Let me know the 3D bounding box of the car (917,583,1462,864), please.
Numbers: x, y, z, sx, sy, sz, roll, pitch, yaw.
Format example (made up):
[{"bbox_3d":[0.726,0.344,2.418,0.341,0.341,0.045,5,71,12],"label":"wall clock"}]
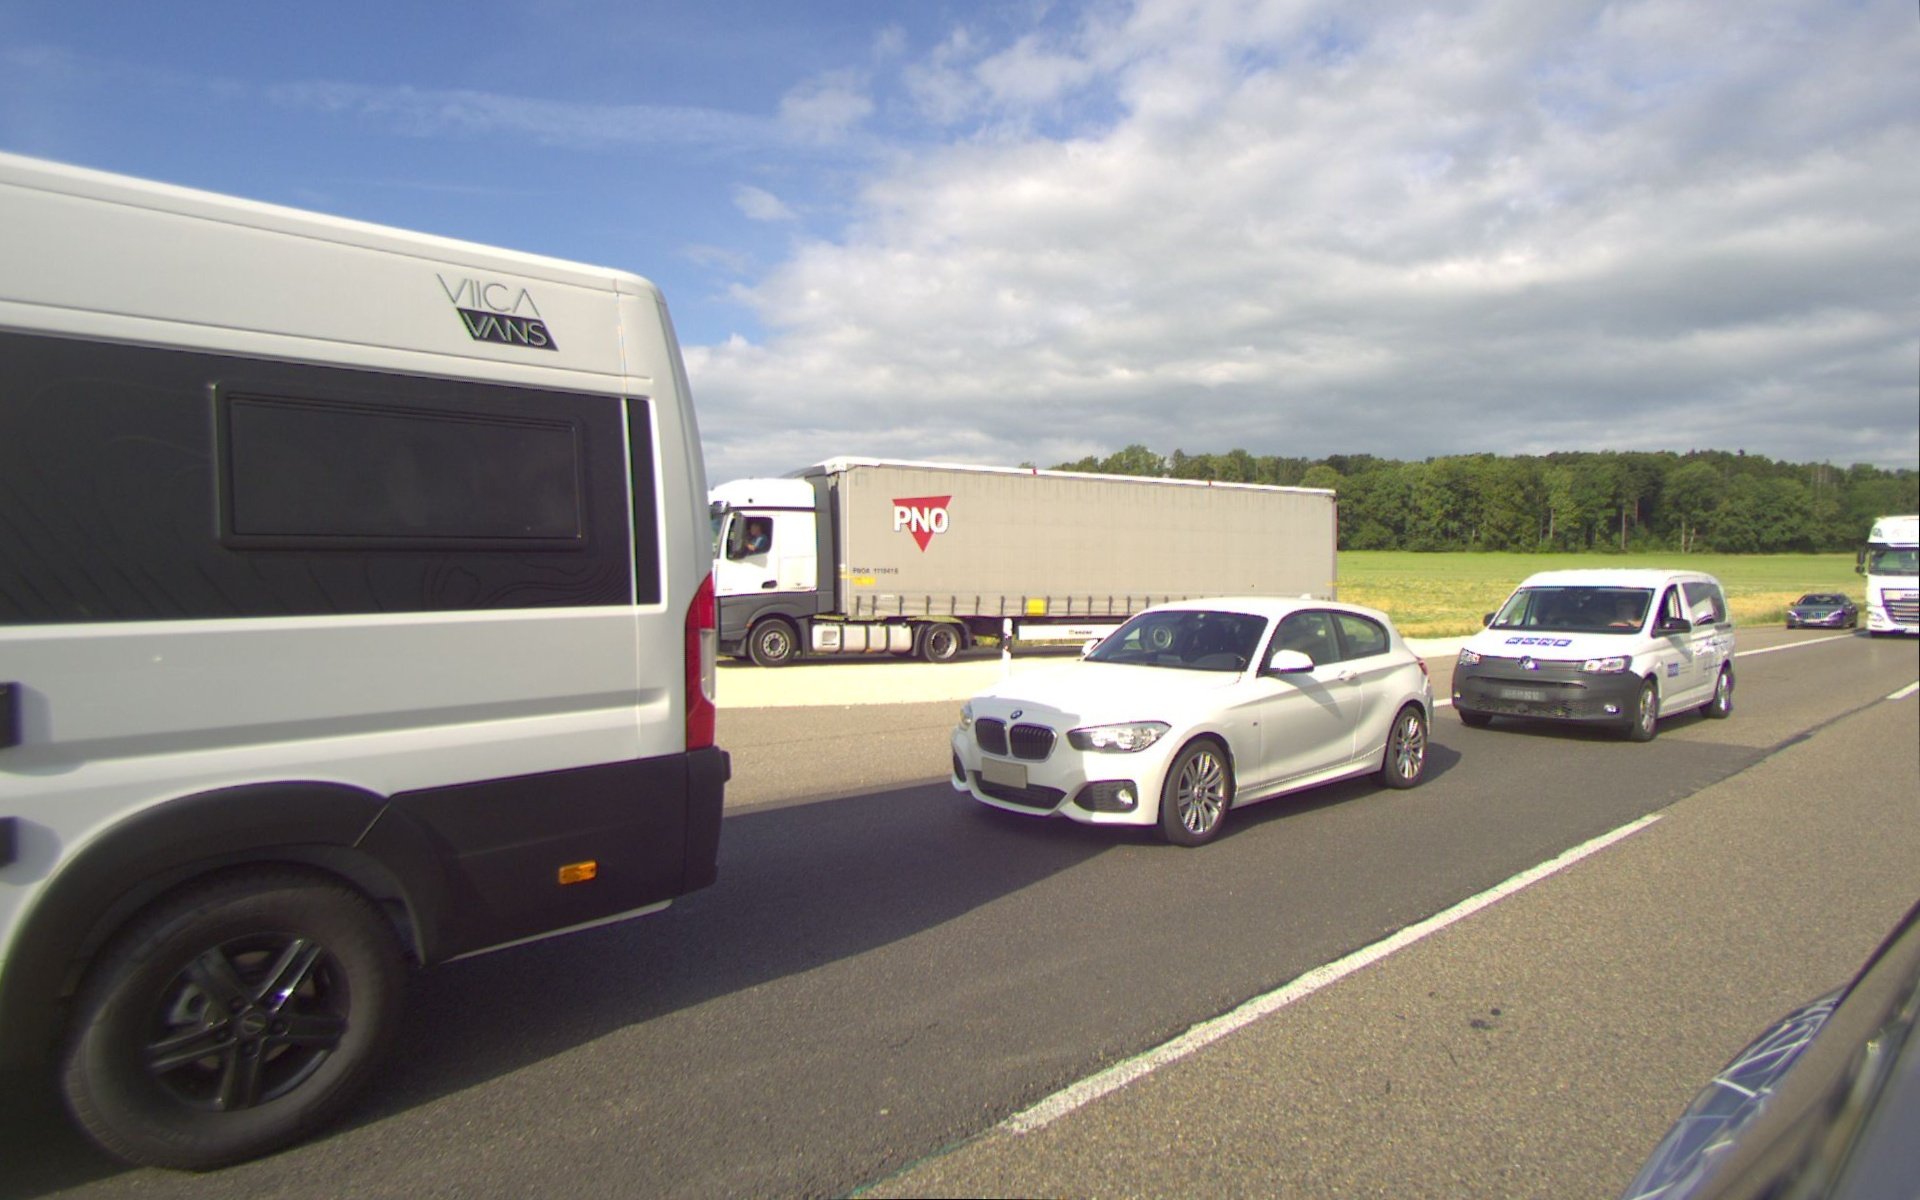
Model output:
[{"bbox_3d":[1.836,0.618,7.245,4.158,1.450,1.706,0,0,-41],"label":"car"}]

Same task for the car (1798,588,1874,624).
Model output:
[{"bbox_3d":[35.343,0.220,40.800,4.110,1.370,1.706,0,0,-41],"label":"car"}]

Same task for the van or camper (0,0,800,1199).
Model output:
[{"bbox_3d":[-3.608,-0.003,2.245,6.222,2.714,2.219,0,1,-41],"label":"van or camper"}]

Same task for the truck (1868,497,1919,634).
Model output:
[{"bbox_3d":[31.877,-1.109,32.986,5.667,4.226,2.733,-1,1,-41],"label":"truck"}]

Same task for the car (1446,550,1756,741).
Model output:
[{"bbox_3d":[7.475,0.407,11.602,4.620,1.779,1.727,0,0,-41],"label":"car"}]

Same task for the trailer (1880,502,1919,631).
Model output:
[{"bbox_3d":[36.730,-1.225,37.267,13.777,4.212,2.739,-1,1,-41],"label":"trailer"}]

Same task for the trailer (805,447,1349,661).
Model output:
[{"bbox_3d":[3.250,-0.914,24.088,13.543,4.213,2.748,0,0,-26],"label":"trailer"}]

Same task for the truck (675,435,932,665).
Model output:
[{"bbox_3d":[-3.252,-0.933,20.917,4.662,4.226,2.727,0,0,-26],"label":"truck"}]
